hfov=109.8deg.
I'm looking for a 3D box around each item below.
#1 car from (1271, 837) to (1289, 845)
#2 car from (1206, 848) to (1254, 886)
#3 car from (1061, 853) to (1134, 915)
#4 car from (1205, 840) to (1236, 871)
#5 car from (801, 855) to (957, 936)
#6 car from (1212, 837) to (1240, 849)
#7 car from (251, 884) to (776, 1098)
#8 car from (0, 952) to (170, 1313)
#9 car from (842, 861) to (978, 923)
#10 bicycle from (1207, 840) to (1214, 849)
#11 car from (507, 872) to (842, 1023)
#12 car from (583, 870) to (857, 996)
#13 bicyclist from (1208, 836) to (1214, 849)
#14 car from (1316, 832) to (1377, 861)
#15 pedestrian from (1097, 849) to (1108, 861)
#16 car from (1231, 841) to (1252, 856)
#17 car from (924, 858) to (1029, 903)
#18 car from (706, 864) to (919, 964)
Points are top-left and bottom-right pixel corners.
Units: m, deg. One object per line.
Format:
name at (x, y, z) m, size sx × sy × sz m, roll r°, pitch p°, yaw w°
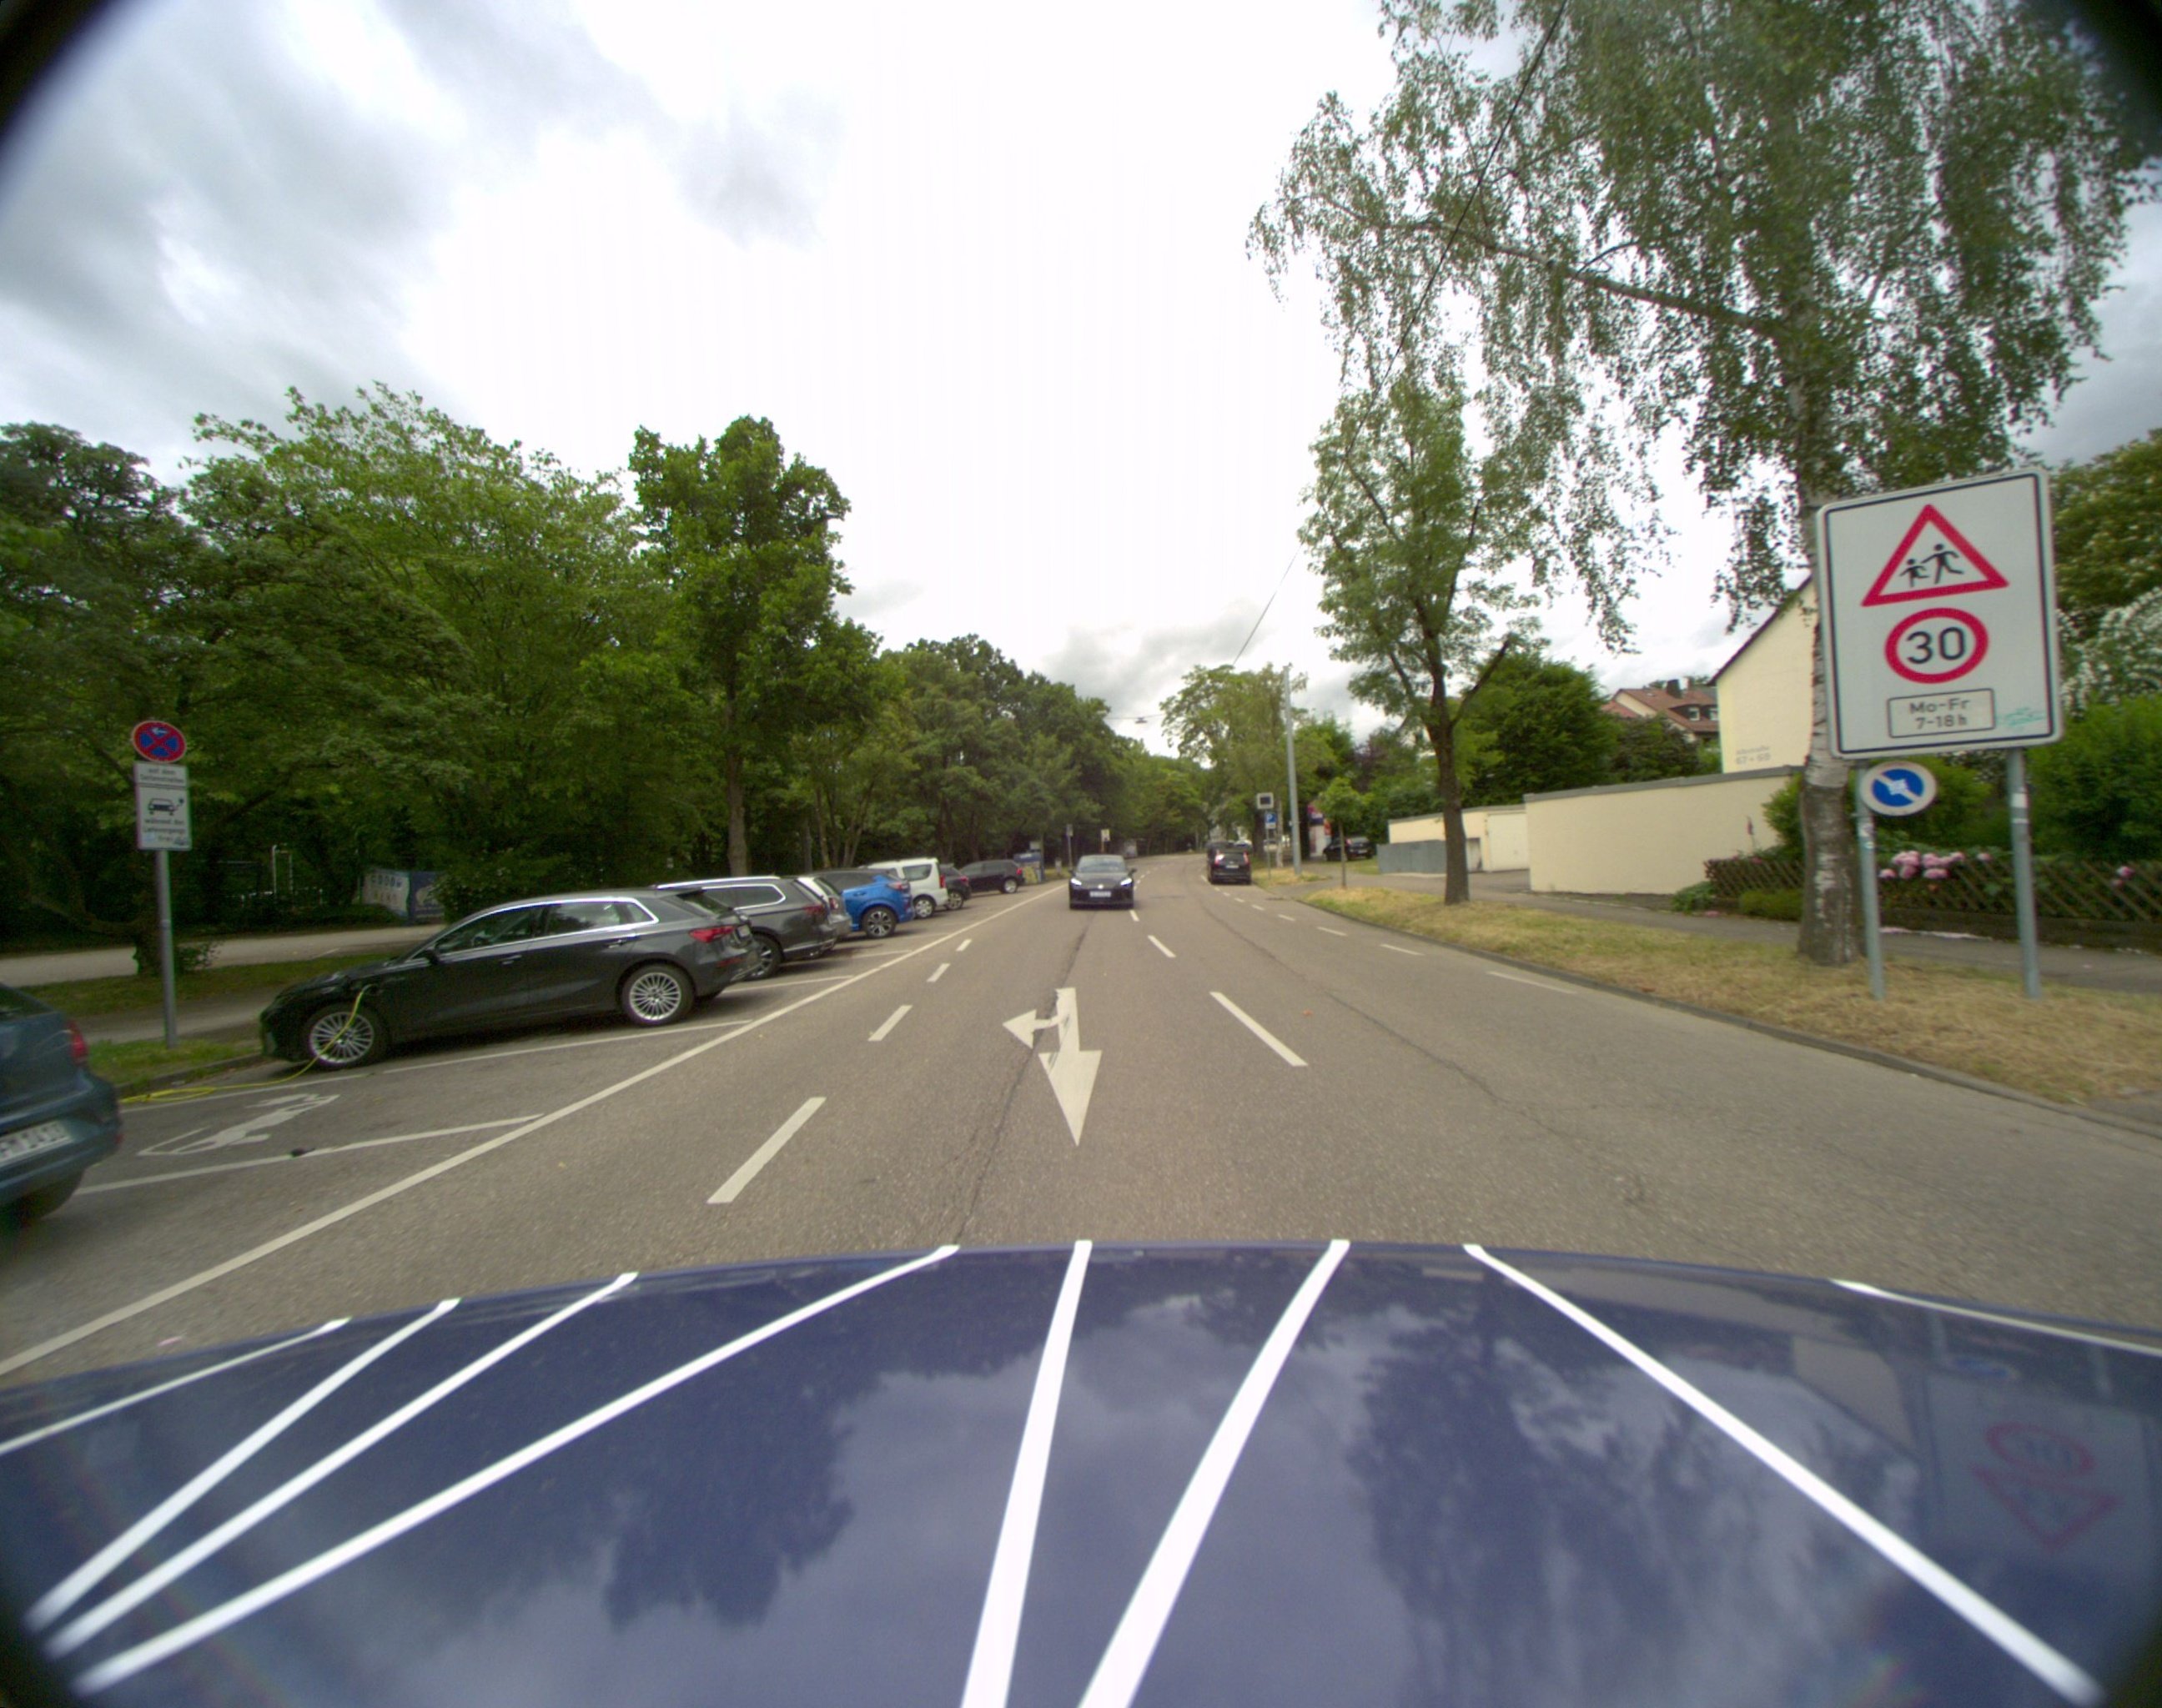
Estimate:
car at (45.680, -3.037, 174.282) m, size 3.851 × 1.430 × 1.717 m, roll -5°, pitch 0°, yaw 14°
car at (6.678, 0.543, 34.467) m, size 1.808 × 1.554 × 4.268 m, roll 0°, pitch 1°, yaw 7°
car at (0.577, 0.798, 22.038) m, size 1.812 × 1.484 × 3.794 m, roll -3°, pitch 1°, yaw 5°
car at (9.330, 0.053, 50.771) m, size 1.861 × 1.898 × 5.086 m, roll -3°, pitch 1°, yaw 11°
car at (-5.511, 1.076, 20.959) m, size 3.832 × 1.710 × 1.876 m, roll -6°, pitch 1°, yaw -14°
car at (25.063, -1.915, 131.527) m, size 4.475 × 1.576 × 1.909 m, roll -5°, pitch 0°, yaw 16°
car at (-5.508, 1.258, 7.989) m, size 3.886 × 1.418 × 1.828 m, roll -6°, pitch 1°, yaw -12°
car at (-6.361, 1.389, 2.522) m, size 3.833 × 1.417 × 1.744 m, roll -6°, pitch 1°, yaw -17°
car at (-5.251, 1.135, 23.635) m, size 3.831 × 1.459 × 1.745 m, roll -6°, pitch 0°, yaw -10°
bicycle at (17.474, -1.310, 102.415) m, size 0.647 × 1.230 × 1.879 m, roll -3°, pitch 1°, yaw 18°
car at (-5.605, 1.228, 11.023) m, size 3.832 × 1.520 × 1.744 m, roll -6°, pitch 1°, yaw -14°
car at (-5.938, 1.249, 13.004) m, size 3.832 × 1.520 × 1.744 m, roll -6°, pitch 1°, yaw -14°
bicyclist at (17.662, -1.602, 102.982) m, size 0.646 × 1.769 × 0.629 m, roll -3°, pitch 2°, yaw 17°
car at (16.076, -0.433, 46.256) m, size 1.779 × 1.469 × 3.987 m, roll -7°, pitch 1°, yaw -8°
pedestrian at (2.316, 0.085, 80.929) m, size 1.065 × 1.175 × 0.580 m, roll -2°, pitch 1°, yaw 14°
car at (17.580, -0.609, 83.111) m, size 1.737 × 1.529 × 4.194 m, roll -2°, pitch 1°, yaw 19°
car at (-4.406, 1.071, 31.941) m, size 4.001 × 1.406 × 2.055 m, roll -6°, pitch 0°, yaw -16°
car at (-5.423, 1.158, 15.798) m, size 3.832 × 1.520 × 1.744 m, roll -6°, pitch 1°, yaw -14°
